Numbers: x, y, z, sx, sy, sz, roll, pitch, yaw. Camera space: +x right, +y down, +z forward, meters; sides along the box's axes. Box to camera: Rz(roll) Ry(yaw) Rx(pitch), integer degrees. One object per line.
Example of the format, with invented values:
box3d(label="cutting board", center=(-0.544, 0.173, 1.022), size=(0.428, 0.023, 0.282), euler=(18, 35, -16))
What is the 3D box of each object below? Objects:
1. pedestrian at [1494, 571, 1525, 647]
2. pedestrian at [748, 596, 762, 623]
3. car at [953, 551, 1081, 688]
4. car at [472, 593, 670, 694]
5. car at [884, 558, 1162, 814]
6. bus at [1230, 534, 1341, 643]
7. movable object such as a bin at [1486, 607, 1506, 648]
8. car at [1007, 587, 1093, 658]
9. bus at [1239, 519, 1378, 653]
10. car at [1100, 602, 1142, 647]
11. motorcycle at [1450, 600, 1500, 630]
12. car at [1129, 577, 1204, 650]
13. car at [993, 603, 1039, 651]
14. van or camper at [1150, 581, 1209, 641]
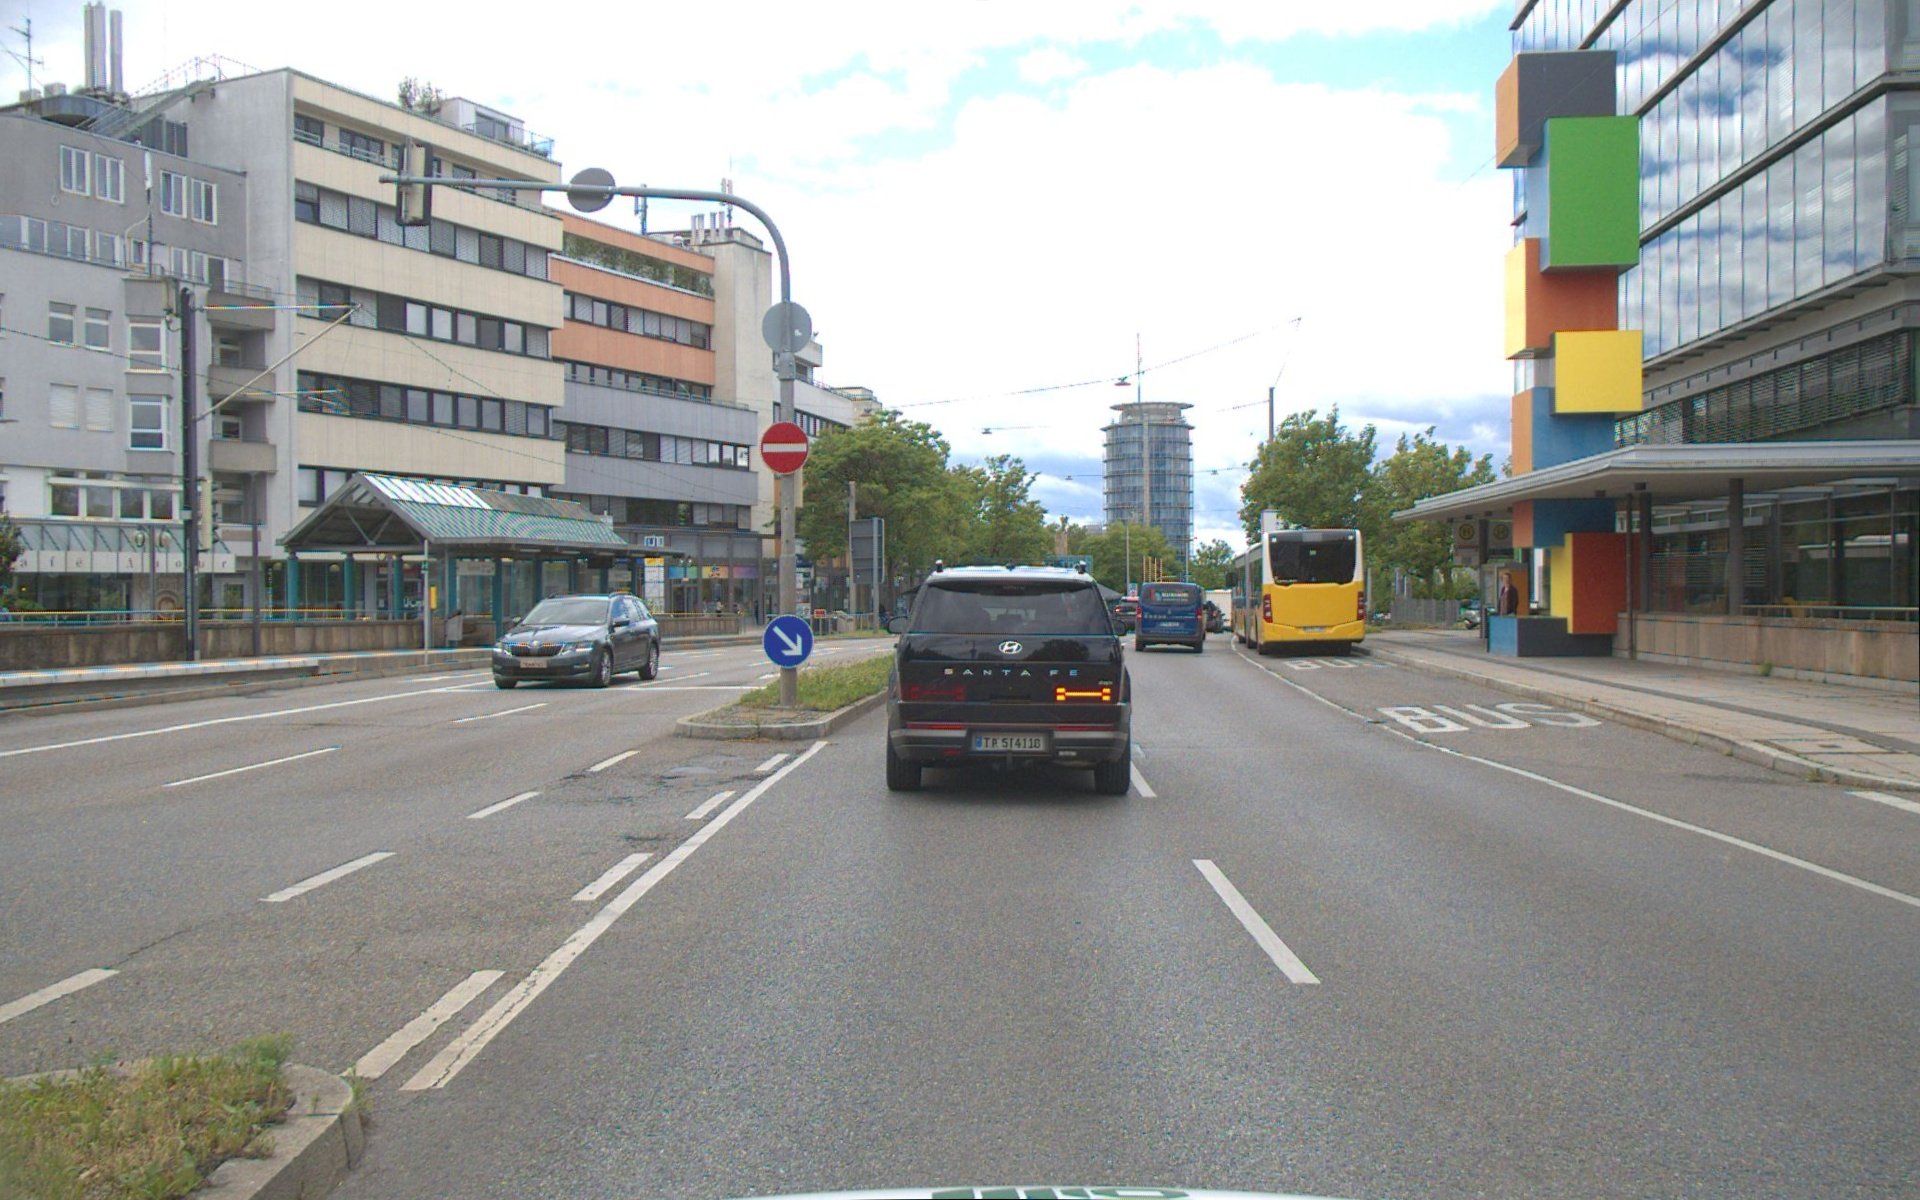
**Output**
box3d(label="pedestrian", center=(12.428, 0.206, 37.440), size=(0.513, 1.702, 0.733), euler=(0, 0, 7))
box3d(label="pedestrian", center=(-12.946, 0.626, 104.467), size=(0.716, 1.702, 0.581), euler=(0, 0, 27))
box3d(label="car", center=(0.914, 0.249, 26.908), size=(1.863, 2.003, 4.637), euler=(1, 1, 1))
box3d(label="car", center=(-6.188, 0.636, 26.863), size=(1.760, 1.480, 4.615), euler=(-1, 0, 5))
box3d(label="car", center=(0.341, 0.559, 13.724), size=(1.864, 1.761, 4.443), euler=(1, 1, -3))
box3d(label="bus", center=(10.506, -0.356, 54.294), size=(2.889, 3.166, 9.984), euler=(-2, 0, 8))
box3d(label="movable object such as a bin", center=(11.948, 0.609, 36.869), size=(0.348, 0.913, 0.462), euler=(0, 0, 7))
box3d(label="car", center=(2.147, 0.508, 40.665), size=(1.863, 1.569, 4.710), euler=(1, 1, 0))
box3d(label="bus", center=(9.251, -0.347, 44.856), size=(2.903, 3.171, 9.251), euler=(-2, 0, 8))
box3d(label="car", center=(7.550, 1.102, 77.269), size=(1.862, 1.891, 4.713), euler=(1, 1, 6))
box3d(label="motorcycle", center=(18.747, 0.532, 60.195), size=(0.626, 1.089, 1.759), euler=(-1, 0, -32))
box3d(label="car", center=(5.748, 0.335, 46.478), size=(1.862, 1.891, 4.712), euler=(1, 1, 4))
box3d(label="car", center=(2.598, 1.202, 75.616), size=(1.862, 1.963, 4.712), euler=(1, 1, 4))
box3d(label="van or camper", center=(7.786, 0.361, 59.035), size=(1.951, 1.951, 4.412), euler=(0, 2, 6))
